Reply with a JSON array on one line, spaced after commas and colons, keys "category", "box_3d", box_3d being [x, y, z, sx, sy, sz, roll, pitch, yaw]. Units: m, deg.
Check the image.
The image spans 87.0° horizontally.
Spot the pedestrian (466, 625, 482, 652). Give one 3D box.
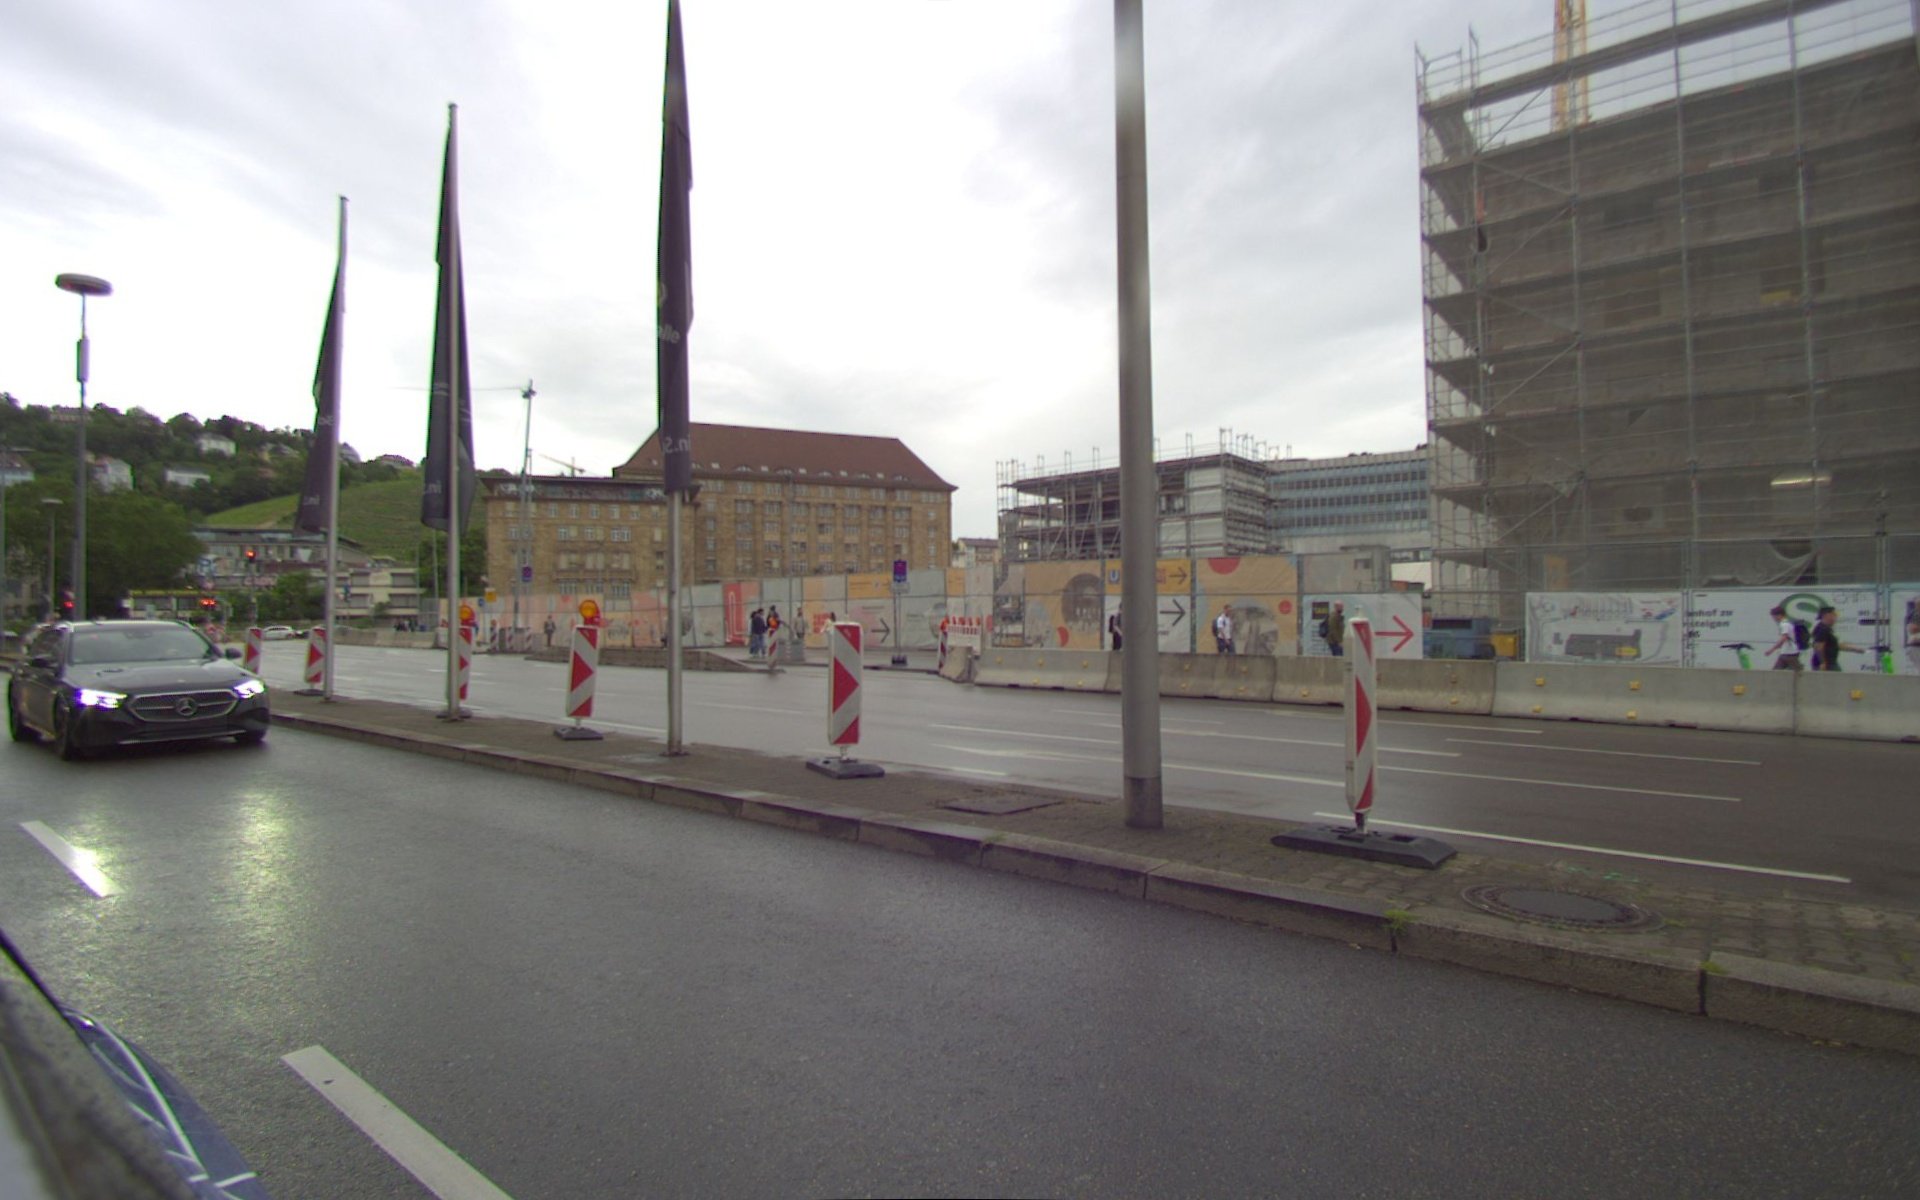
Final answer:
[{"category": "pedestrian", "box_3d": [-29.811, 2.349, 62.084, 0.544, 1.628, 0.706, -1, 0, 41]}]

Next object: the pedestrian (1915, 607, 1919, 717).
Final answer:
[{"category": "pedestrian", "box_3d": [16.562, 1.036, 16.997, 0.717, 1.850, 0.475, -1, 0, 41]}]

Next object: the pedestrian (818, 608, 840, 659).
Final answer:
[{"category": "pedestrian", "box_3d": [-4.858, 1.237, 37.541, 0.651, 1.850, 0.557, -1, 0, -29]}]

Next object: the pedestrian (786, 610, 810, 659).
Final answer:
[{"category": "pedestrian", "box_3d": [-5.993, 1.265, 37.382, 0.704, 1.757, 0.565, -1, 0, -29]}]

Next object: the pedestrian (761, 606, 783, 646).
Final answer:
[{"category": "pedestrian", "box_3d": [-7.829, 1.084, 42.245, 0.544, 1.628, 0.706, -1, 0, 41]}]

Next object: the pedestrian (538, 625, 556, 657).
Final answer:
[{"category": "pedestrian", "box_3d": [-21.218, 2.101, 51.988, 0.544, 1.628, 0.706, -1, 0, 41]}]

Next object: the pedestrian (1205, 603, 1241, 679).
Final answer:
[{"category": "pedestrian", "box_3d": [6.533, 0.999, 25.132, 0.717, 1.850, 0.475, -1, 0, 41]}]

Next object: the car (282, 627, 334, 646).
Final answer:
[{"category": "car", "box_3d": [-59.853, 3.364, 92.902, 3.934, 1.644, 2.005, 0, -2, -36]}]

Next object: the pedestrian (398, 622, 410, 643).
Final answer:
[{"category": "pedestrian", "box_3d": [-44.120, 2.562, 80.329, 0.705, 1.628, 0.545, -1, 0, -40]}]

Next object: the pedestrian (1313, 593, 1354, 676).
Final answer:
[{"category": "pedestrian", "box_3d": [8.448, 0.768, 22.890, 0.717, 1.850, 0.475, -1, 0, 41]}]

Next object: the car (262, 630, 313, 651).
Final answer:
[{"category": "car", "box_3d": [-68.693, 4.108, 103.392, 4.136, 1.871, 1.833, -1, 0, -44]}]

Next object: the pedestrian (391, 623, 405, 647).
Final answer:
[{"category": "pedestrian", "box_3d": [-39.616, 2.479, 71.327, 0.544, 1.628, 0.706, -1, 0, 41]}]

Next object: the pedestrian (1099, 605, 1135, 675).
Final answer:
[{"category": "pedestrian", "box_3d": [4.229, 1.066, 27.252, 0.717, 1.850, 0.579, -1, 0, 41]}]

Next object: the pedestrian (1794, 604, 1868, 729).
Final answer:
[{"category": "pedestrian", "box_3d": [13.281, 0.990, 15.444, 0.819, 1.850, 0.572, -1, 0, 41]}]

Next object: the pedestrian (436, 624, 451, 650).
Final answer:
[{"category": "pedestrian", "box_3d": [-33.503, 2.388, 65.595, 0.544, 1.628, 0.706, -1, 0, 41]}]

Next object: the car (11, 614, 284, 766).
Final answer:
[{"category": "car", "box_3d": [-10.035, 0.941, 12.356, 4.585, 1.480, 1.836, -1, 0, 41]}]

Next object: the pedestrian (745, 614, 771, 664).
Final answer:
[{"category": "pedestrian", "box_3d": [-7.273, 1.402, 36.473, 0.704, 1.746, 0.719, -1, 0, -31]}]

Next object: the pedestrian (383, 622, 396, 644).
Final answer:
[{"category": "pedestrian", "box_3d": [-42.838, 2.459, 76.017, 0.544, 1.628, 0.706, -1, 0, 41]}]

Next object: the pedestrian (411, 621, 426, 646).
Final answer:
[{"category": "pedestrian", "box_3d": [-35.459, 2.188, 66.262, 0.544, 1.628, 0.706, -1, 0, 41]}]

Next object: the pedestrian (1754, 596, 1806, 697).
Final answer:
[{"category": "pedestrian", "box_3d": [15.316, 0.851, 18.905, 0.717, 1.850, 0.475, -1, 0, 41]}]

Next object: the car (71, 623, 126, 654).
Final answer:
[{"category": "car", "box_3d": [-48.516, 2.153, 56.967, 3.914, 1.707, 1.762, -2, -2, 41]}]

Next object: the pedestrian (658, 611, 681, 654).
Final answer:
[{"category": "pedestrian", "box_3d": [-12.703, 1.429, 44.197, 0.720, 1.850, 0.656, -1, 0, 41]}]

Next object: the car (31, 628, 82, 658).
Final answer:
[{"category": "car", "box_3d": [-54.939, 2.592, 61.524, 3.913, 1.707, 1.763, -1, 0, 40]}]

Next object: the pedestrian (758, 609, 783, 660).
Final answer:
[{"category": "pedestrian", "box_3d": [-7.025, 1.264, 37.547, 0.704, 1.850, 0.719, -1, 0, -31]}]
